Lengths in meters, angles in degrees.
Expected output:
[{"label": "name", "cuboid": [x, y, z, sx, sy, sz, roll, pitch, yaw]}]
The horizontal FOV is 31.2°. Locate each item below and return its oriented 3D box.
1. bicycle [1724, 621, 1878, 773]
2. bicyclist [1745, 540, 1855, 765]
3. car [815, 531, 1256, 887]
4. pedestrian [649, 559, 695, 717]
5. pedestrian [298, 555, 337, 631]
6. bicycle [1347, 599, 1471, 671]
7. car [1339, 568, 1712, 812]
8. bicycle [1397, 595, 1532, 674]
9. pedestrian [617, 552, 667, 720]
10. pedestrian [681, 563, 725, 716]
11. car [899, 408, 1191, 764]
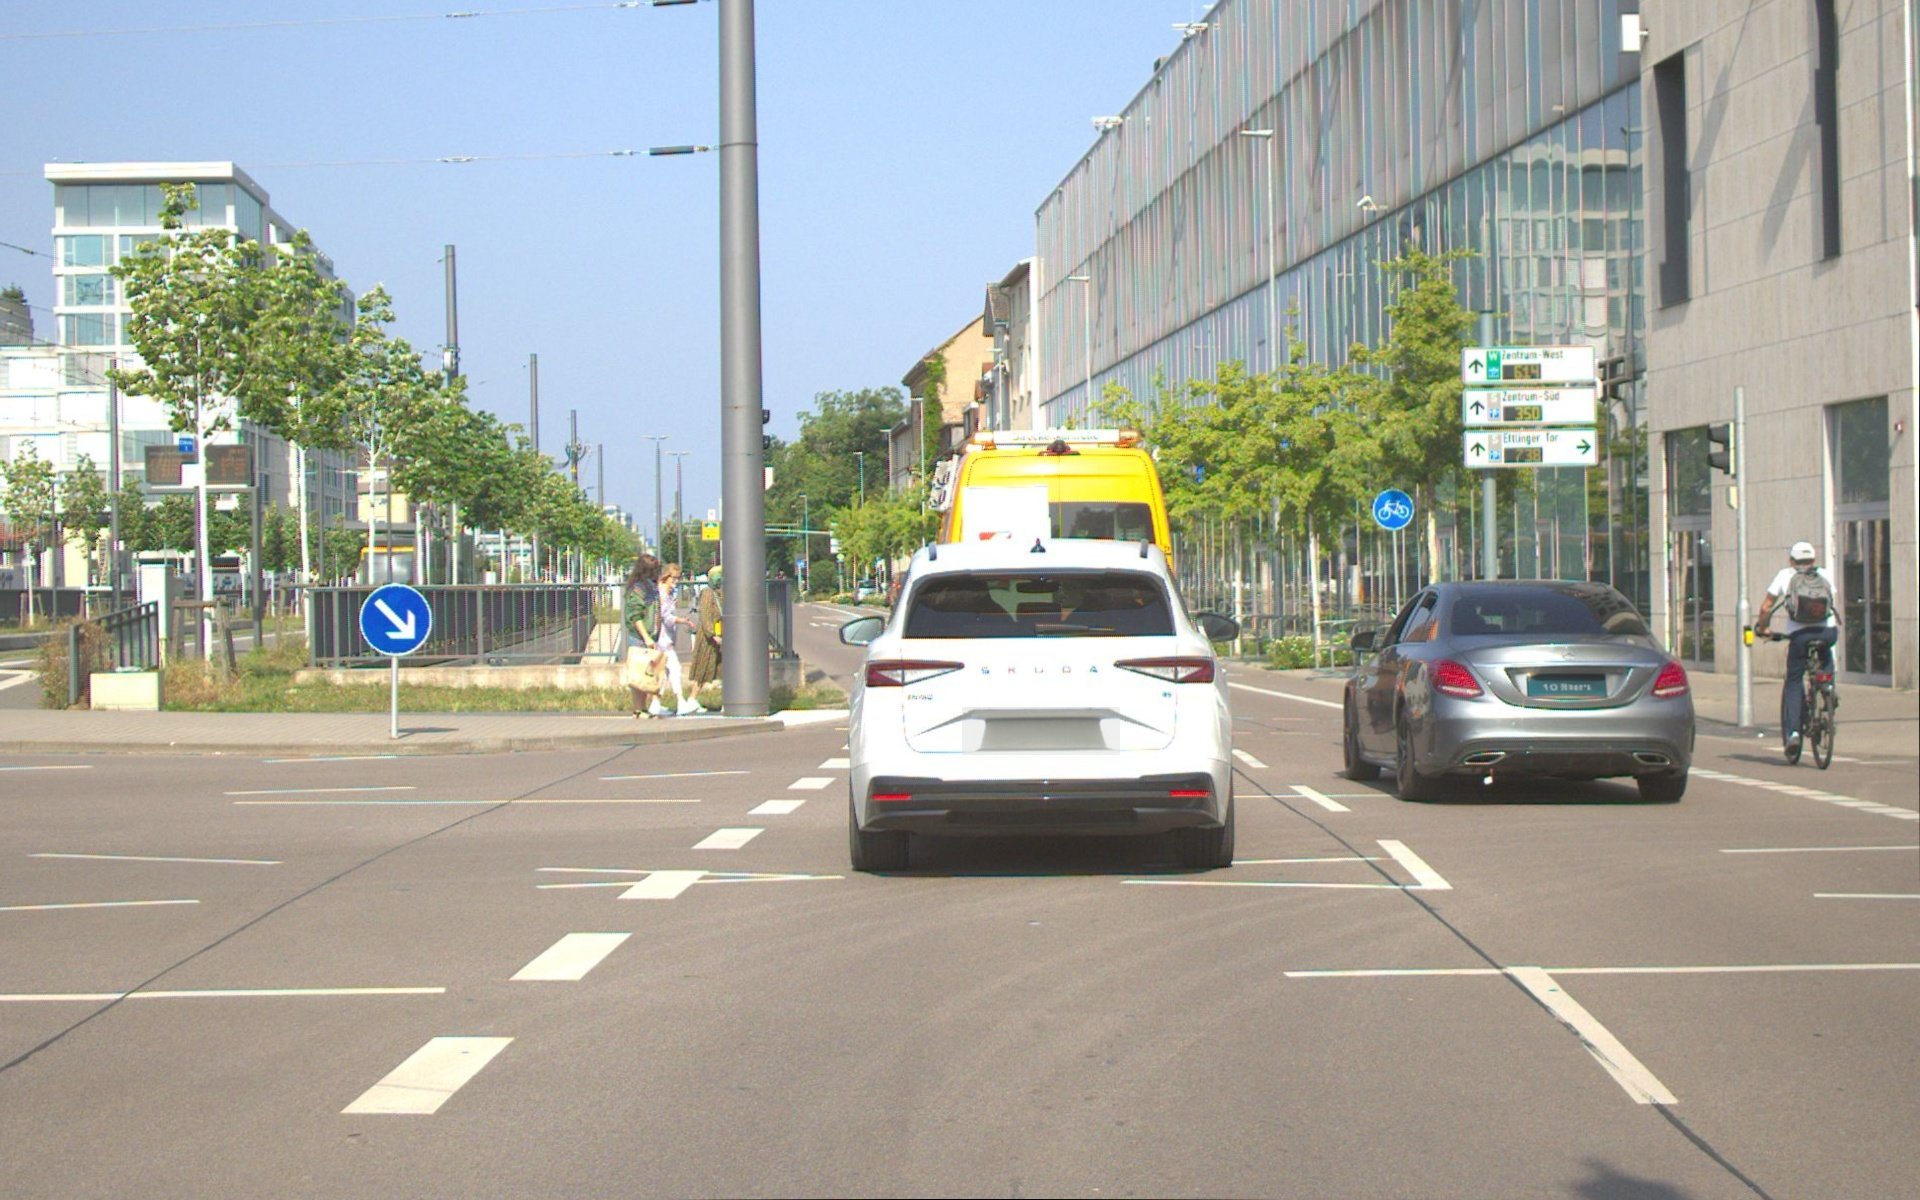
[{"label": "bicycle", "cuboid": [6.656, 0.745, 27.286, 0.661, 1.113, 2.051, -1, 1, -1]}, {"label": "bicyclist", "cuboid": [6.649, 0.406, 27.234, 0.651, 1.743, 0.769, -1, 1, -1]}, {"label": "car", "cuboid": [0.256, 0.466, 17.395, 1.869, 1.569, 4.001, -1, 1, -4]}, {"label": "pedestrian", "cuboid": [-3.020, 0.393, 36.132, 0.467, 1.644, 0.777, 0, 1, -4]}, {"label": "pedestrian", "cuboid": [-13.714, -0.144, 73.347, 0.735, 1.613, 0.711, 0, 0, -5]}, {"label": "bicycle", "cuboid": [7.100, 0.548, 54.379, 1.878, 1.105, 0.490, -1, 0, -2]}, {"label": "car", "cuboid": [3.641, 0.526, 22.804, 1.760, 1.431, 4.115, 1, 1, 0]}, {"label": "bicycle", "cuboid": [7.358, 0.505, 50.208, 1.839, 1.109, 0.687, 1, 0, -2]}, {"label": "pedestrian", "cuboid": [-3.135, 0.346, 33.973, 0.467, 1.644, 0.777, 0, 1, -4]}, {"label": "pedestrian", "cuboid": [-2.793, 0.424, 37.452, 0.467, 1.644, 0.777, 0, 1, -4]}, {"label": "car", "cuboid": [0.624, -0.165, 29.833, 2.020, 2.786, 5.401, -1, 1, -4]}]
